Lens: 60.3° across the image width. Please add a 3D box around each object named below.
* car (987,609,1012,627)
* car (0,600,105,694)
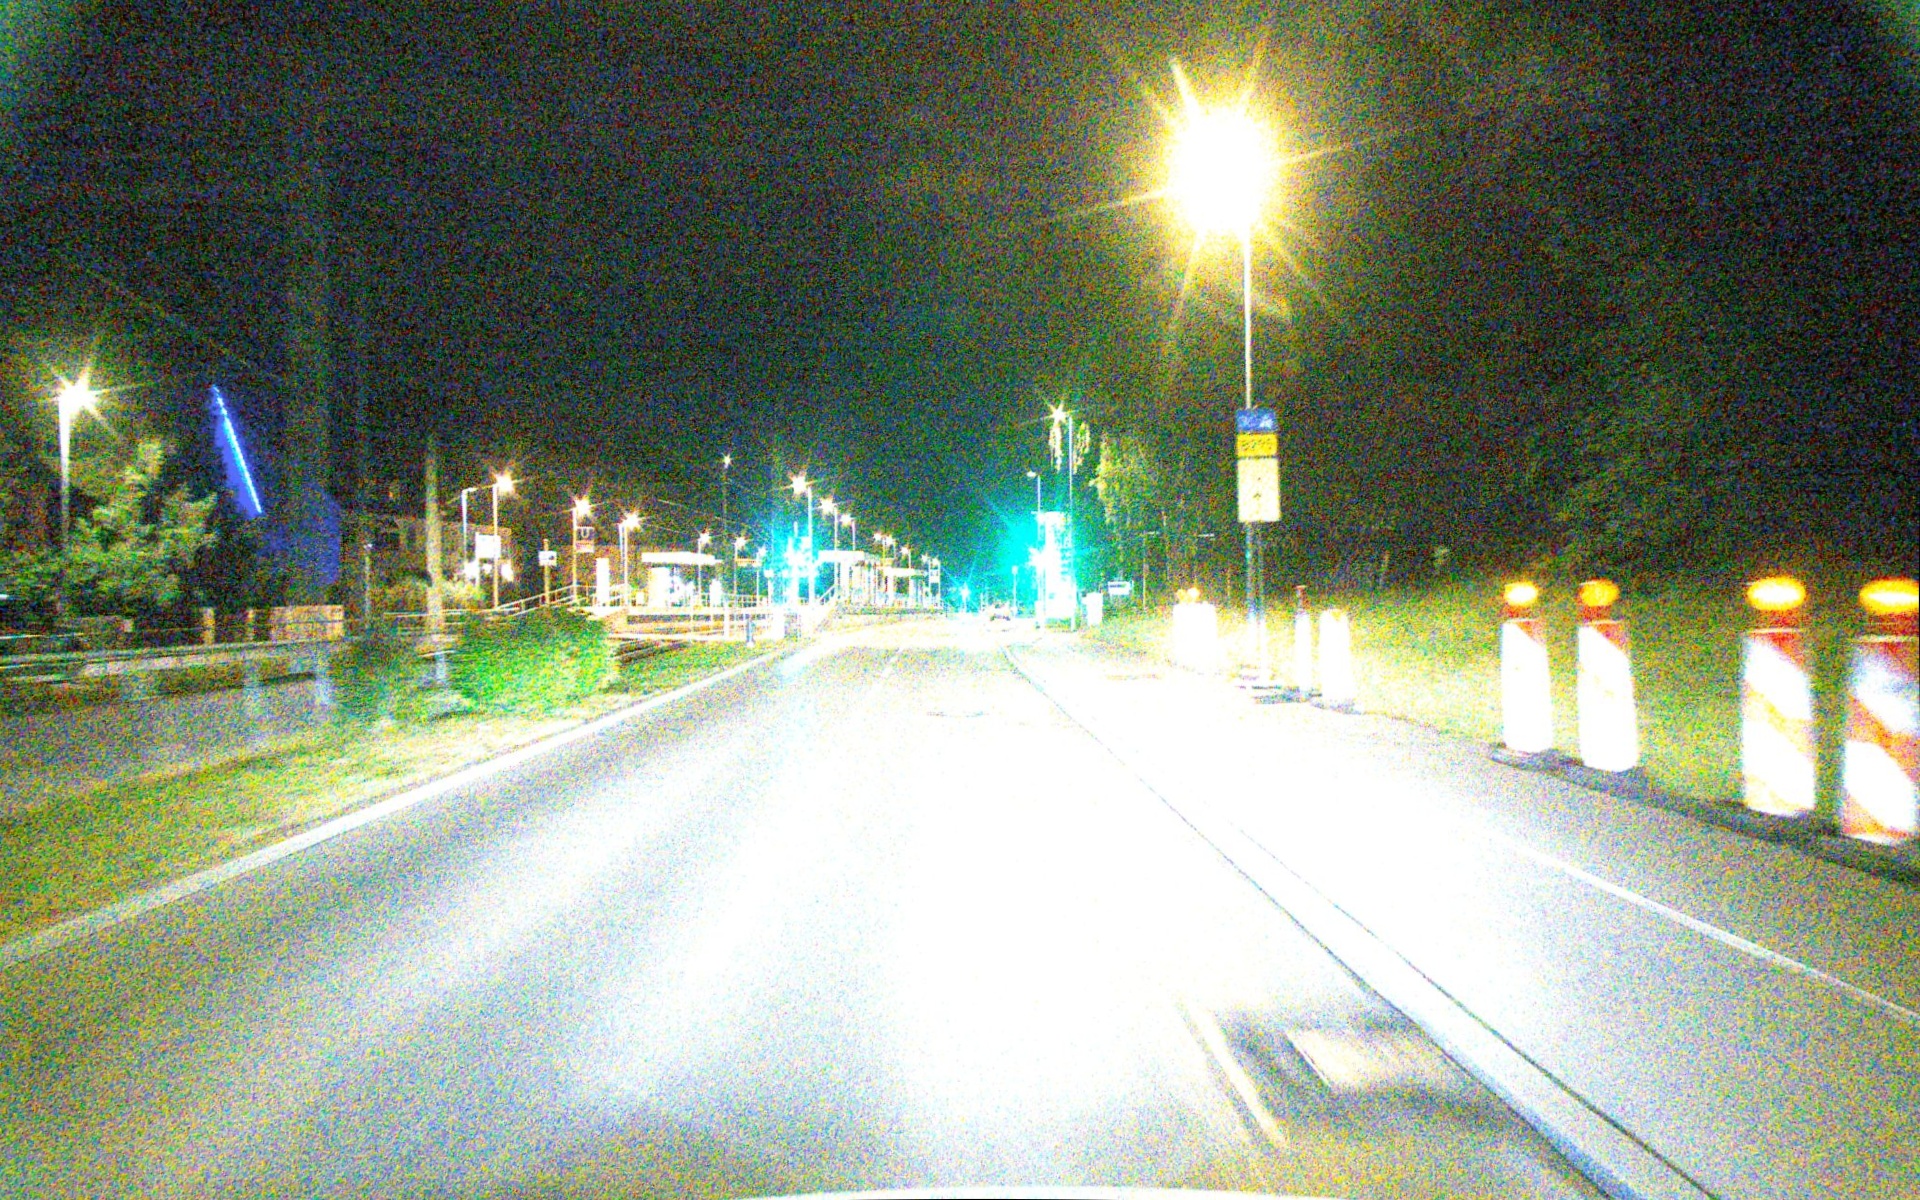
[{"bbox_3d":[3.649,1.661,153.483,2.116,1.610,4.015,2,-1,4],"label":"car"},{"bbox_3d":[-16.634,0.779,28.466,1.828,1.531,4.092,-1,0,-3],"label":"car"}]
